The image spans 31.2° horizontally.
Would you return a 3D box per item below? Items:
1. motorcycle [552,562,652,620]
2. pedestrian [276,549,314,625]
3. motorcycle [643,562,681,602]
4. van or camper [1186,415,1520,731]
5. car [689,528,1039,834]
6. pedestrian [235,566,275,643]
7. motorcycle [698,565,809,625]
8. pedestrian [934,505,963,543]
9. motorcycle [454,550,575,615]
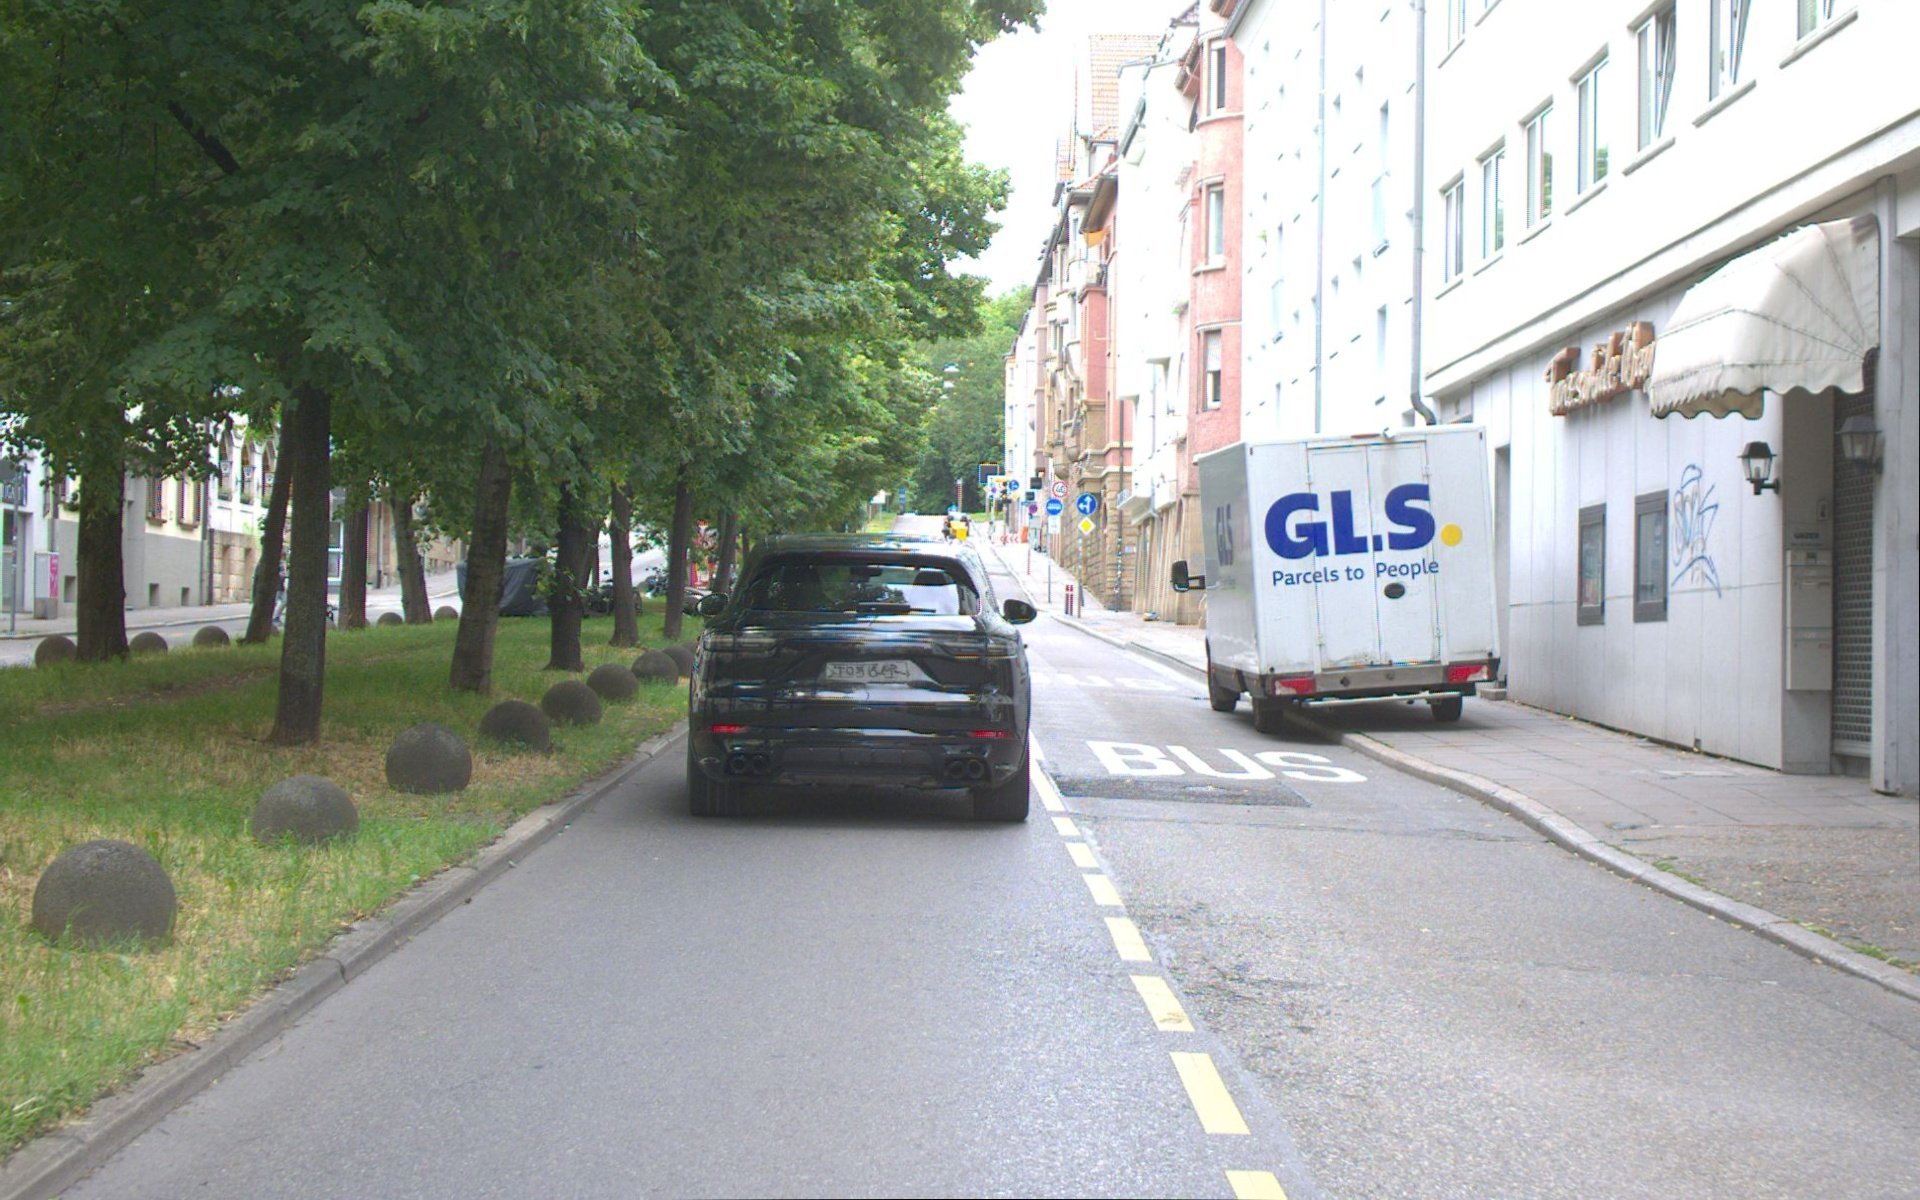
[{"bbox_3d":[-7.836,-0.203,75.232,2.029,1.231,0.896,1,1,5],"label":"motorcycle"},{"bbox_3d":[-14.354,-0.284,74.177,0.662,1.610,0.579,1,1,1],"label":"pedestrian"},{"bbox_3d":[-8.572,-0.499,99.013,0.900,1.103,2.251,0,-1,0],"label":"motorcycle"},{"bbox_3d":[3.765,-0.282,34.476,2.480,2.793,7.238,1,1,0],"label":"van or camper"},{"bbox_3d":[-0.601,0.424,21.019,1.903,1.660,4.136,1,1,-2],"label":"car"},{"bbox_3d":[-14.936,0.088,72.857,0.634,1.607,0.764,2,1,2],"label":"pedestrian"},{"bbox_3d":[-4.485,-0.122,74.654,2.355,1.231,1.034,1,2,-2],"label":"motorcycle"},{"bbox_3d":[-0.629,-4.098,185.931,1.300,2.007,1.020,1,1,-19],"label":"pedestrian"},{"bbox_3d":[-9.299,-0.366,71.857,2.382,1.312,1.046,1,1,-1],"label":"motorcycle"}]
